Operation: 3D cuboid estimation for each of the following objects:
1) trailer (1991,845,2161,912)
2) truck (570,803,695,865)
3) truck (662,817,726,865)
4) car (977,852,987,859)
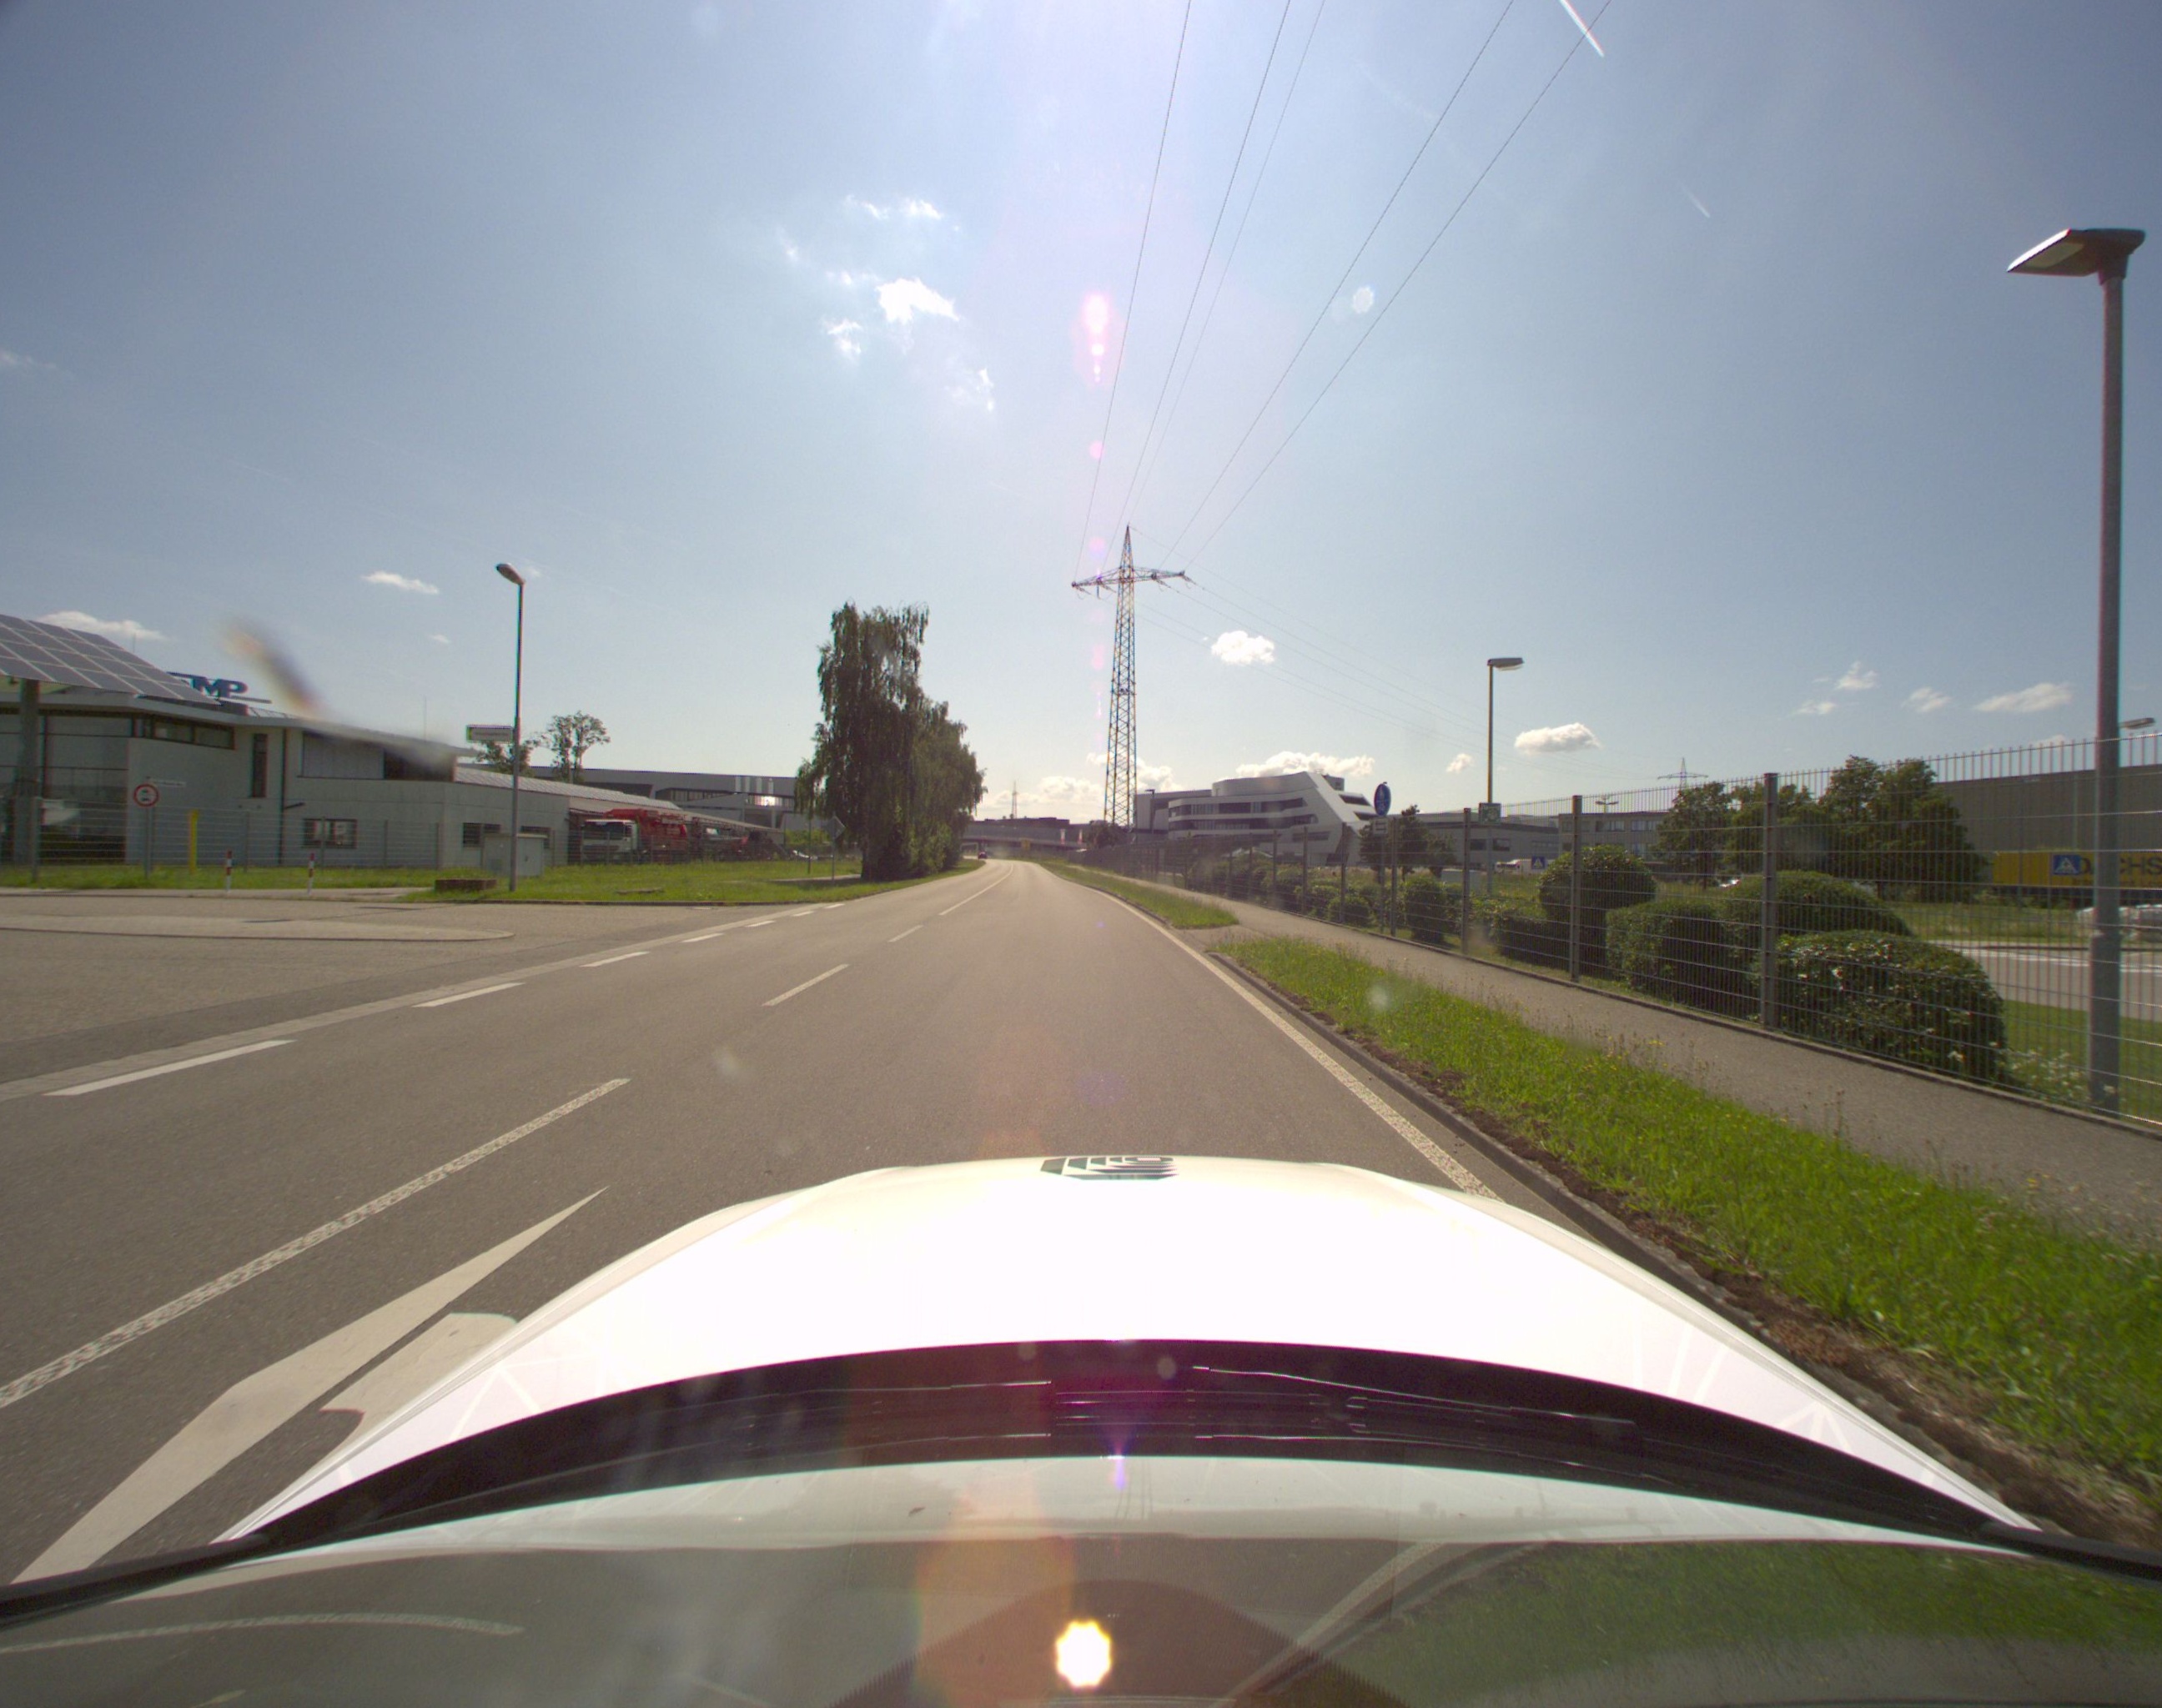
[{"bbox_3d":[61.567,1.395,47.173,2.911,3.766,12.737,2,0,-4],"label":"trailer"},{"bbox_3d":[-28.596,-1.158,52.664,2.747,3.558,10.256,2,0,-3],"label":"truck"},{"bbox_3d":[-29.763,-0.936,62.853,2.429,3.452,5.436,2,0,-3],"label":"truck"},{"bbox_3d":[-22.959,0.281,188.784,2.012,1.508,3.986,2,0,-10],"label":"car"}]
